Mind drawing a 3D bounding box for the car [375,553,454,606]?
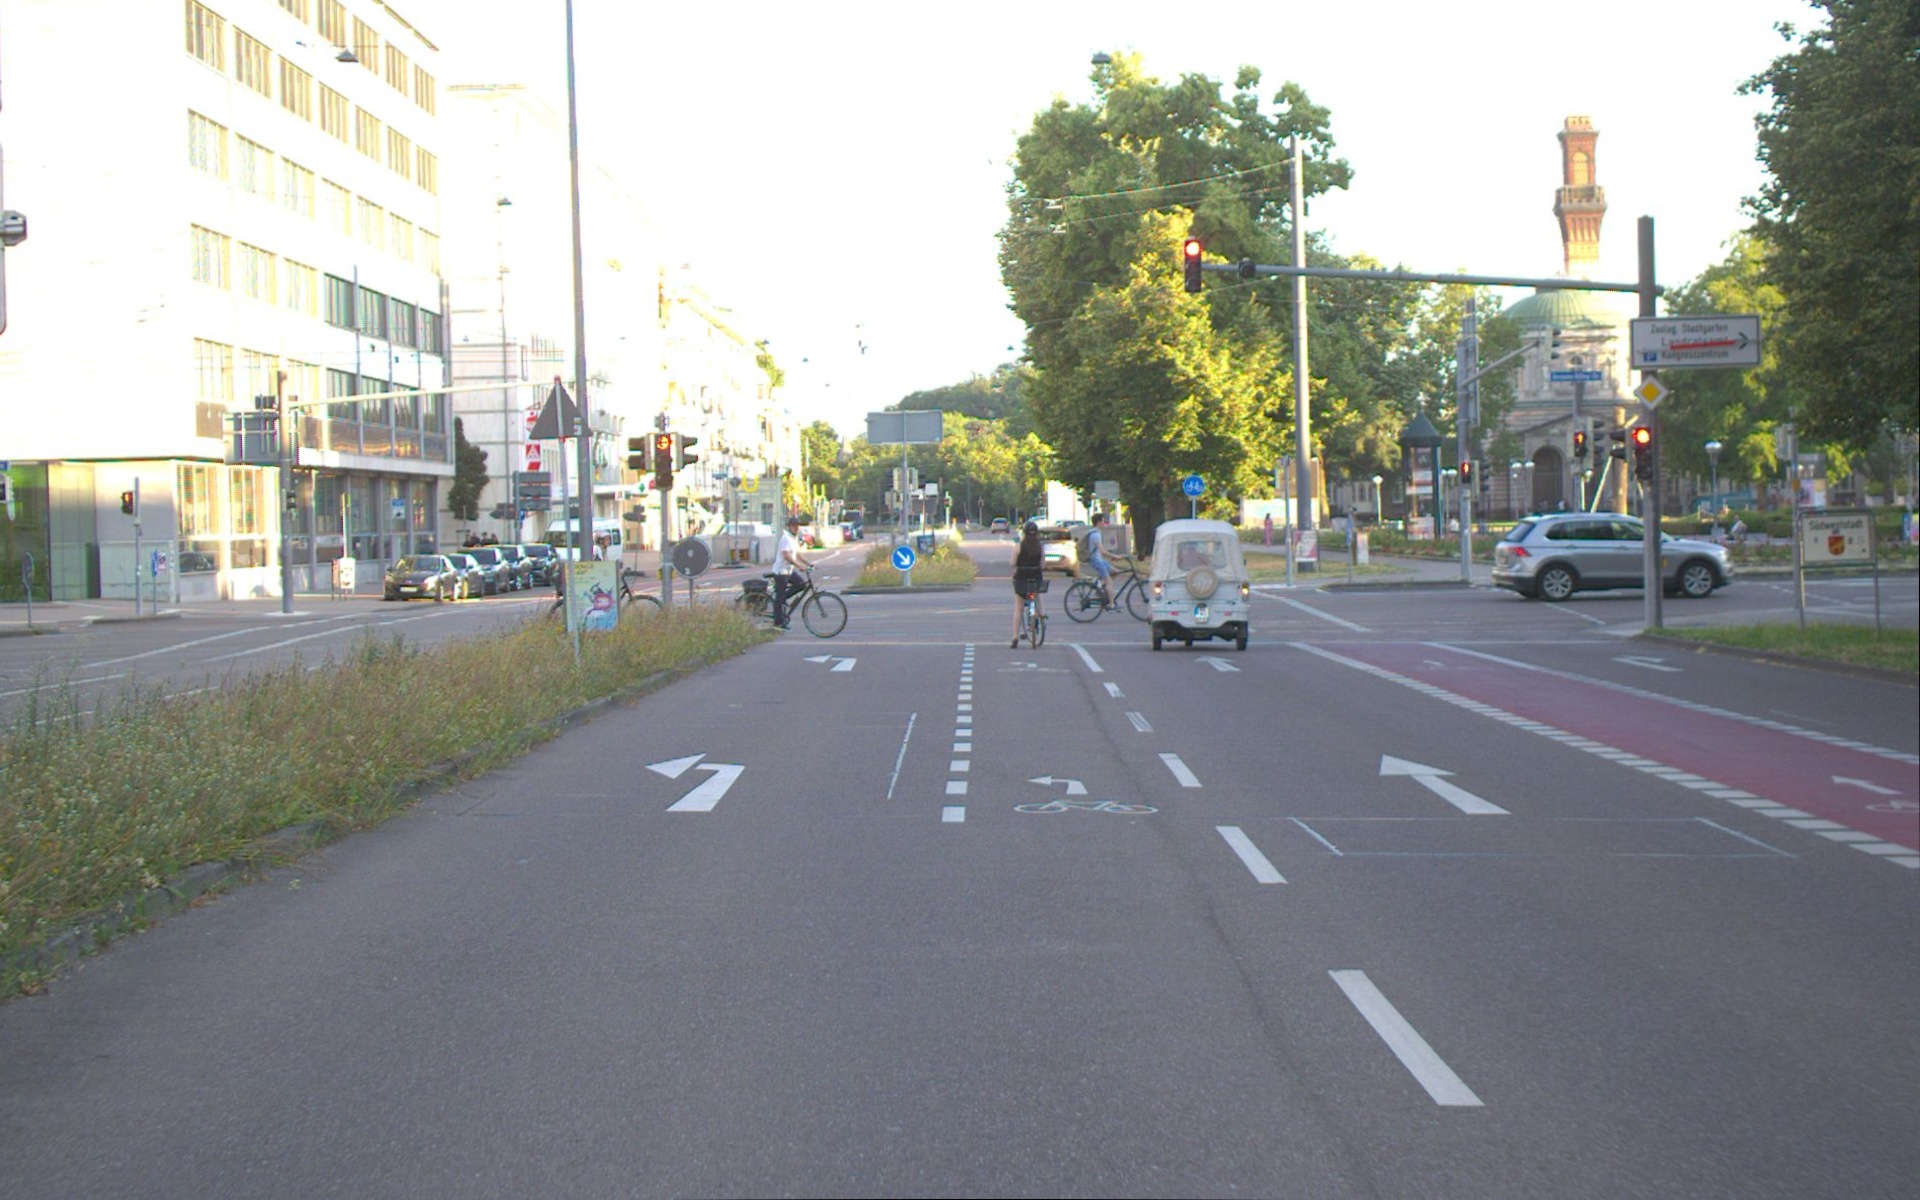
[{"bbox_3d":[-16.954,-0.621,107.001,1.796,1.470,4.000,-2,-1,0],"label":"car"}]

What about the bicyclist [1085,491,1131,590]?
[{"bbox_3d":[2.562,-1.031,59.479,0.746,1.687,0.715,-1,1,3],"label":"bicyclist"}]

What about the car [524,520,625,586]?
[{"bbox_3d":[-15.258,-1.827,136.404,2.178,2.377,5.986,-2,-1,12],"label":"car"}]

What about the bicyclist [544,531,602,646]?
[{"bbox_3d":[-5.810,-0.176,51.627,0.746,1.687,0.715,-1,1,1],"label":"bicyclist"}]

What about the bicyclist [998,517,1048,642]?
[{"bbox_3d":[0.859,-0.281,47.157,0.628,1.687,0.748,-1,1,0],"label":"bicyclist"}]

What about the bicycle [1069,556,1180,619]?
[{"bbox_3d":[2.853,-0.225,59.471,1.897,1.065,0.731,-1,1,3],"label":"bicycle"}]

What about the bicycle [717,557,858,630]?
[{"bbox_3d":[-2.682,-0.105,53.460,2.058,1.065,0.786,-1,1,8],"label":"bicycle"}]

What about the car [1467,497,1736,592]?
[{"bbox_3d":[12.015,-1.044,64.497,4.532,1.642,2.001,-2,1,-7],"label":"car"}]

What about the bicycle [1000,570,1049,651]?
[{"bbox_3d":[0.878,0.133,47.479,0.637,1.065,2.069,0,1,0],"label":"bicycle"}]

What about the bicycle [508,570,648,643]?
[{"bbox_3d":[-5.731,0.099,51.641,2.015,1.065,0.731,0,0,1],"label":"bicycle"}]

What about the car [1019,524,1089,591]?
[{"bbox_3d":[2.933,-1.337,107.628,1.993,2.007,4.000,-2,1,-1],"label":"car"}]

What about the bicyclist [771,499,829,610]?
[{"bbox_3d":[-2.485,-0.712,53.445,0.746,1.687,0.765,-1,1,8],"label":"bicyclist"}]

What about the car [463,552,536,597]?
[{"bbox_3d":[-16.515,-0.905,123.434,1.796,1.470,3.999,-2,-1,4],"label":"car"}]

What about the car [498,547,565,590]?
[{"bbox_3d":[-16.166,-1.175,129.828,1.796,1.470,3.999,-2,-1,4],"label":"car"}]

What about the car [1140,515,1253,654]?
[{"bbox_3d":[3.204,-0.235,46.868,1.459,1.774,2.564,-1,2,3],"label":"car"}]
